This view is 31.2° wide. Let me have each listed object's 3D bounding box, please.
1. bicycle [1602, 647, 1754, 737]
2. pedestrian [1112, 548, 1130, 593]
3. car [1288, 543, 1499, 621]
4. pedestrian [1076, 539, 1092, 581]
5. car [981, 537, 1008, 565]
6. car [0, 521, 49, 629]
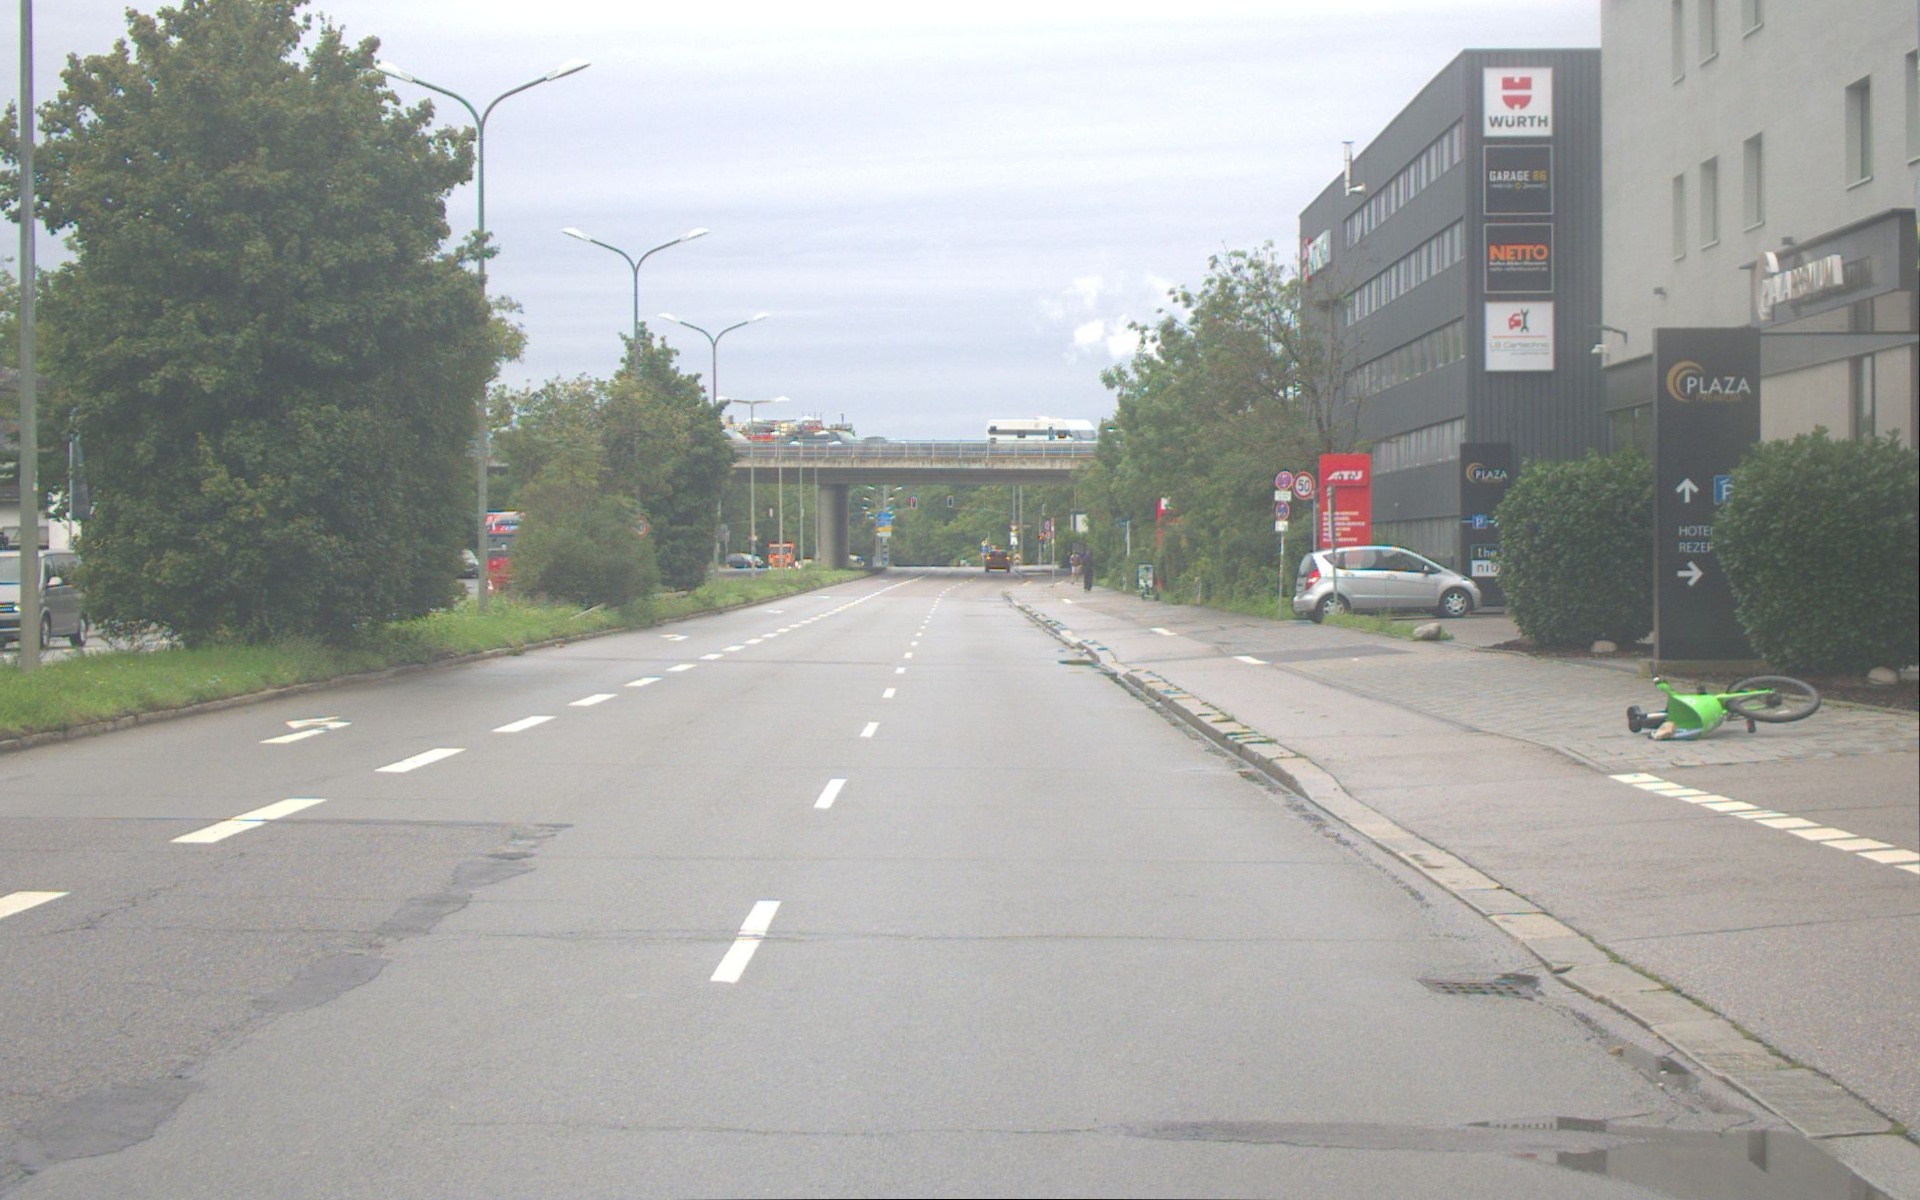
[{"bbox_3d":[5.283,0.669,25.383,0.720,0.547,1.732,-4,1,0],"label":"bicycle"},{"bbox_3d":[6.855,-1.252,146.305,0.689,1.870,0.662,-1,1,0],"label":"pedestrian"},{"bbox_3d":[9.002,-0.375,71.558,4.012,1.552,1.821,1,1,-6],"label":"car"},{"bbox_3d":[5.605,-1.821,155.366,0.689,1.870,0.662,-1,1,0],"label":"pedestrian"},{"bbox_3d":[2.510,-3.558,249.404,1.812,2.007,3.833,1,1,2],"label":"car"},{"bbox_3d":[-18.475,-0.446,63.817,1.993,1.954,4.325,-1,1,-1],"label":"car"}]
